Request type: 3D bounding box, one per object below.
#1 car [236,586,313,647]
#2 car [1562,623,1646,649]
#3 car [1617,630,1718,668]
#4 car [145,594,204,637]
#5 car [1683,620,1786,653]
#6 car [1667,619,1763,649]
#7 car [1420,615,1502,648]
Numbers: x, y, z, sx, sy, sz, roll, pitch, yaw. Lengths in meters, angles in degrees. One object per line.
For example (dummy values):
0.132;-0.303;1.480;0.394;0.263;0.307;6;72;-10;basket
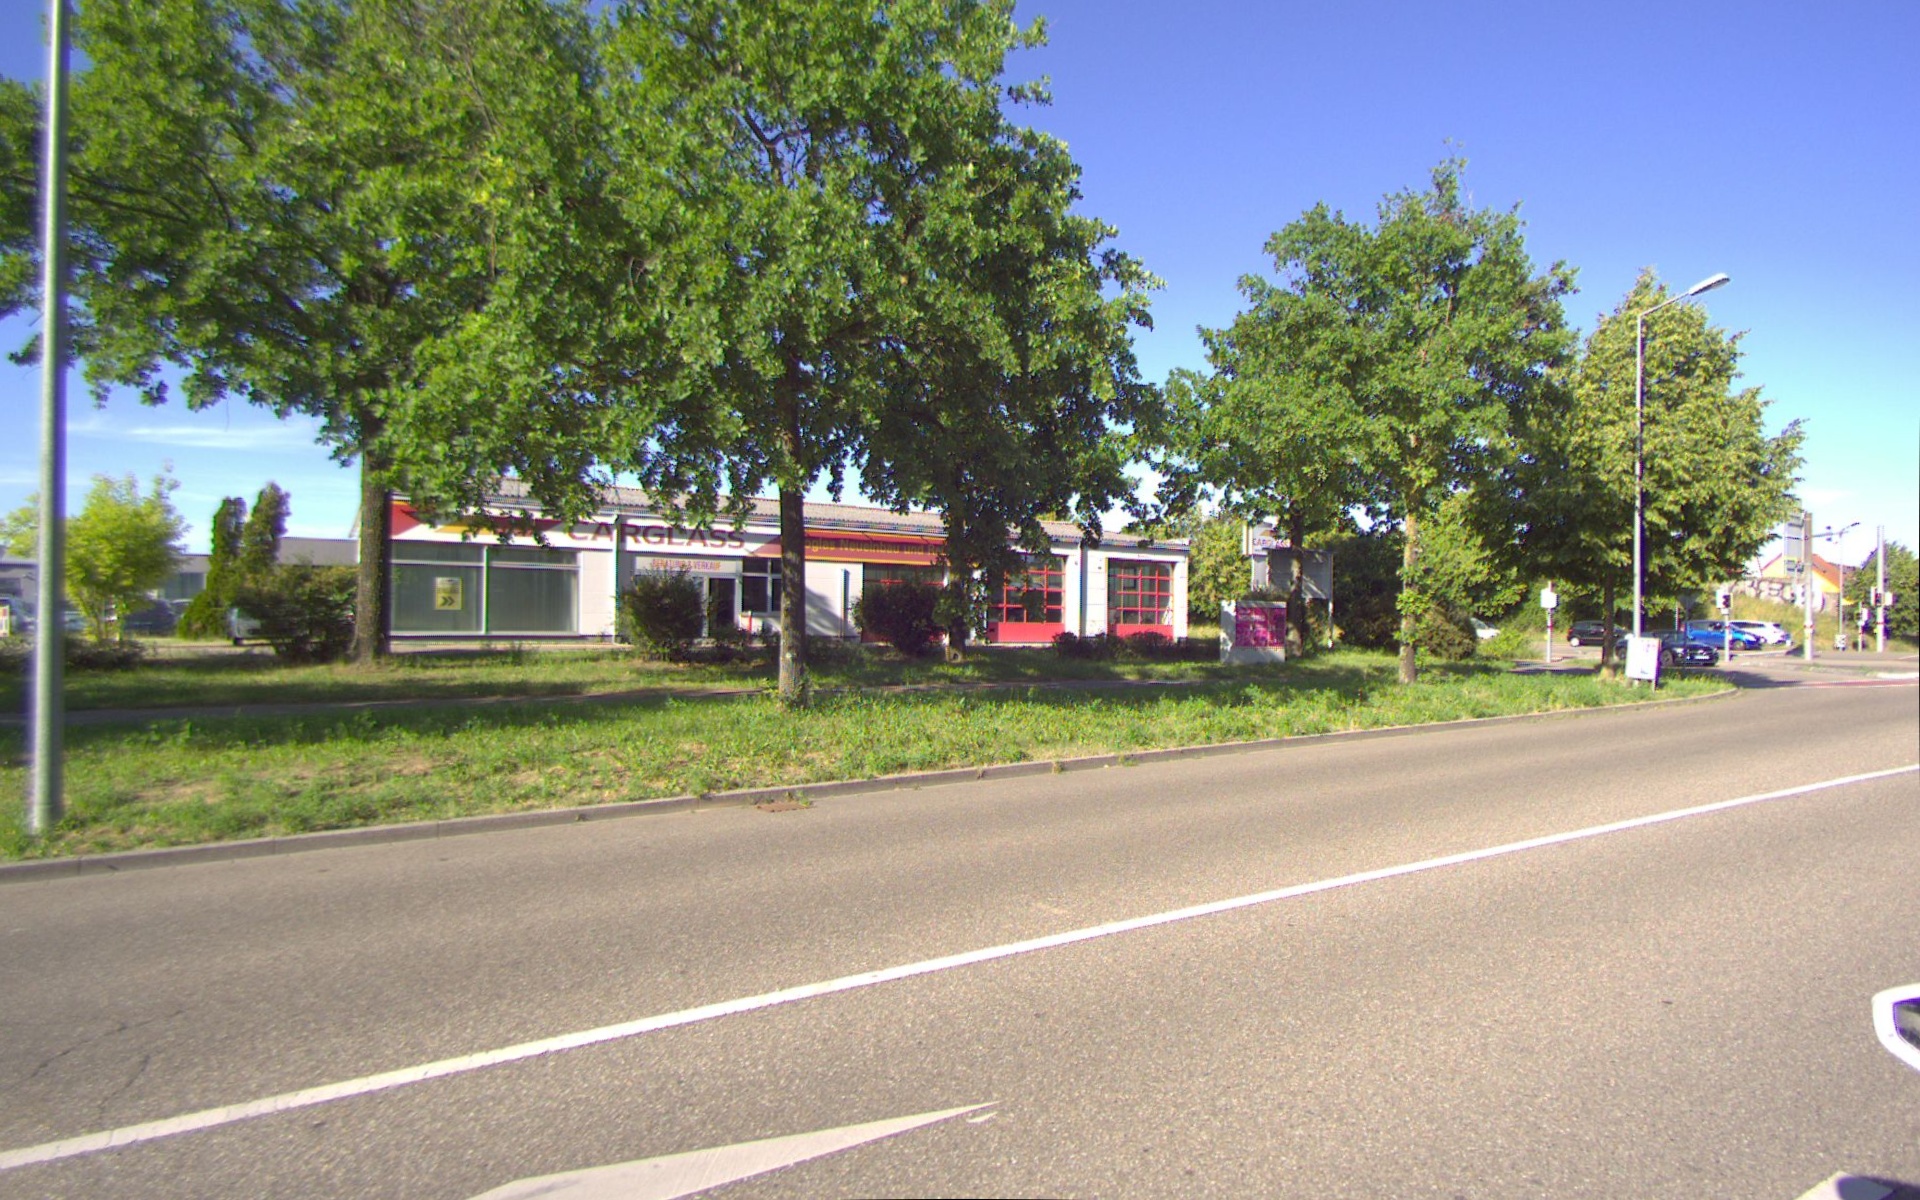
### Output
-18.471;0.437;27.055;1.577;1.517;3.572;2;-1;-35;car
37.396;2.057;58.374;1.495;1.330;3.816;2;0;-38;car
28.867;1.995;41.156;1.960;1.421;4.590;-2;-3;17;car
-39.599;0.791;50.710;1.864;2.040;3.966;1;-1;-32;car
44.614;2.072;57.956;1.694;1.706;4.357;2;0;-33;car
40.642;1.827;54.106;1.668;1.403;3.816;2;0;-38;car
29.114;1.816;58.473;1.445;1.825;4.079;2;-2;-39;car
